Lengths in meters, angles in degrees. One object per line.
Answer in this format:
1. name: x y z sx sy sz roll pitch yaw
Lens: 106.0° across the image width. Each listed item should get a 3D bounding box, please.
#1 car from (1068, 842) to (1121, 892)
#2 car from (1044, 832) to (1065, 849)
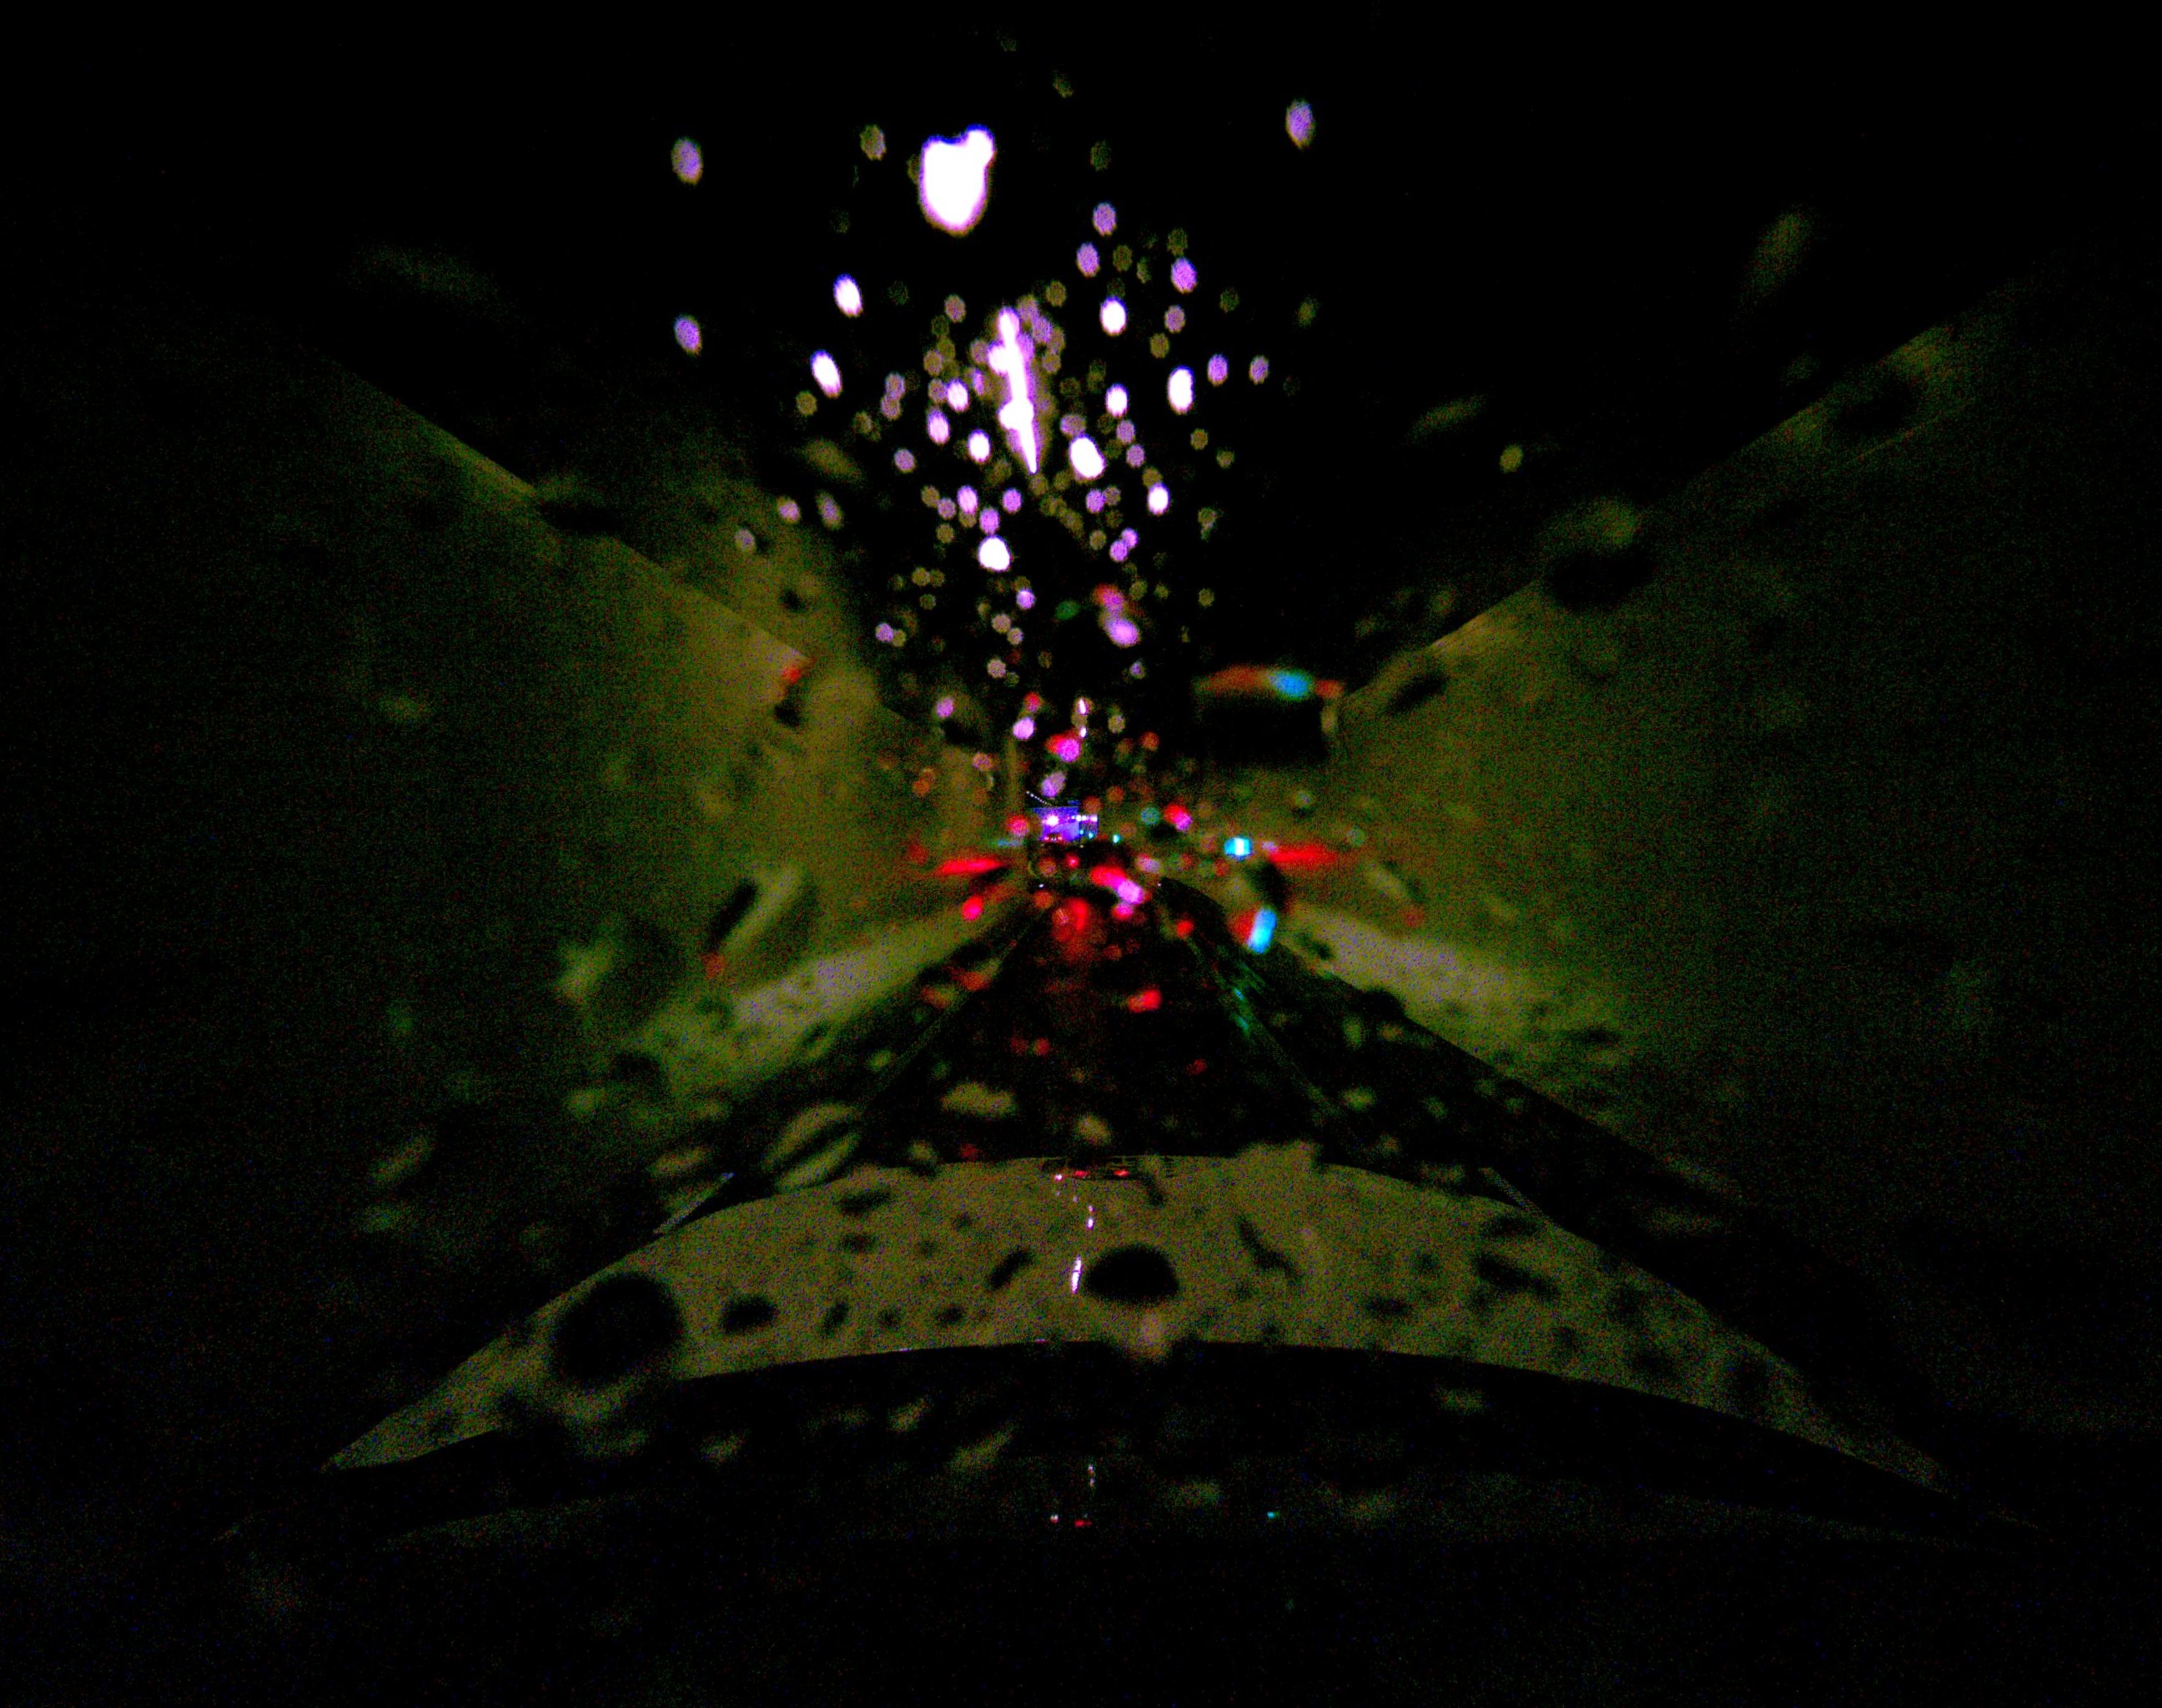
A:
1. car: 0.403 0.343 25.362 1.527 1.397 3.434 -1 1 0
2. car: -2.534 -1.258 78.120 1.877 1.620 3.995 0 0 -4
